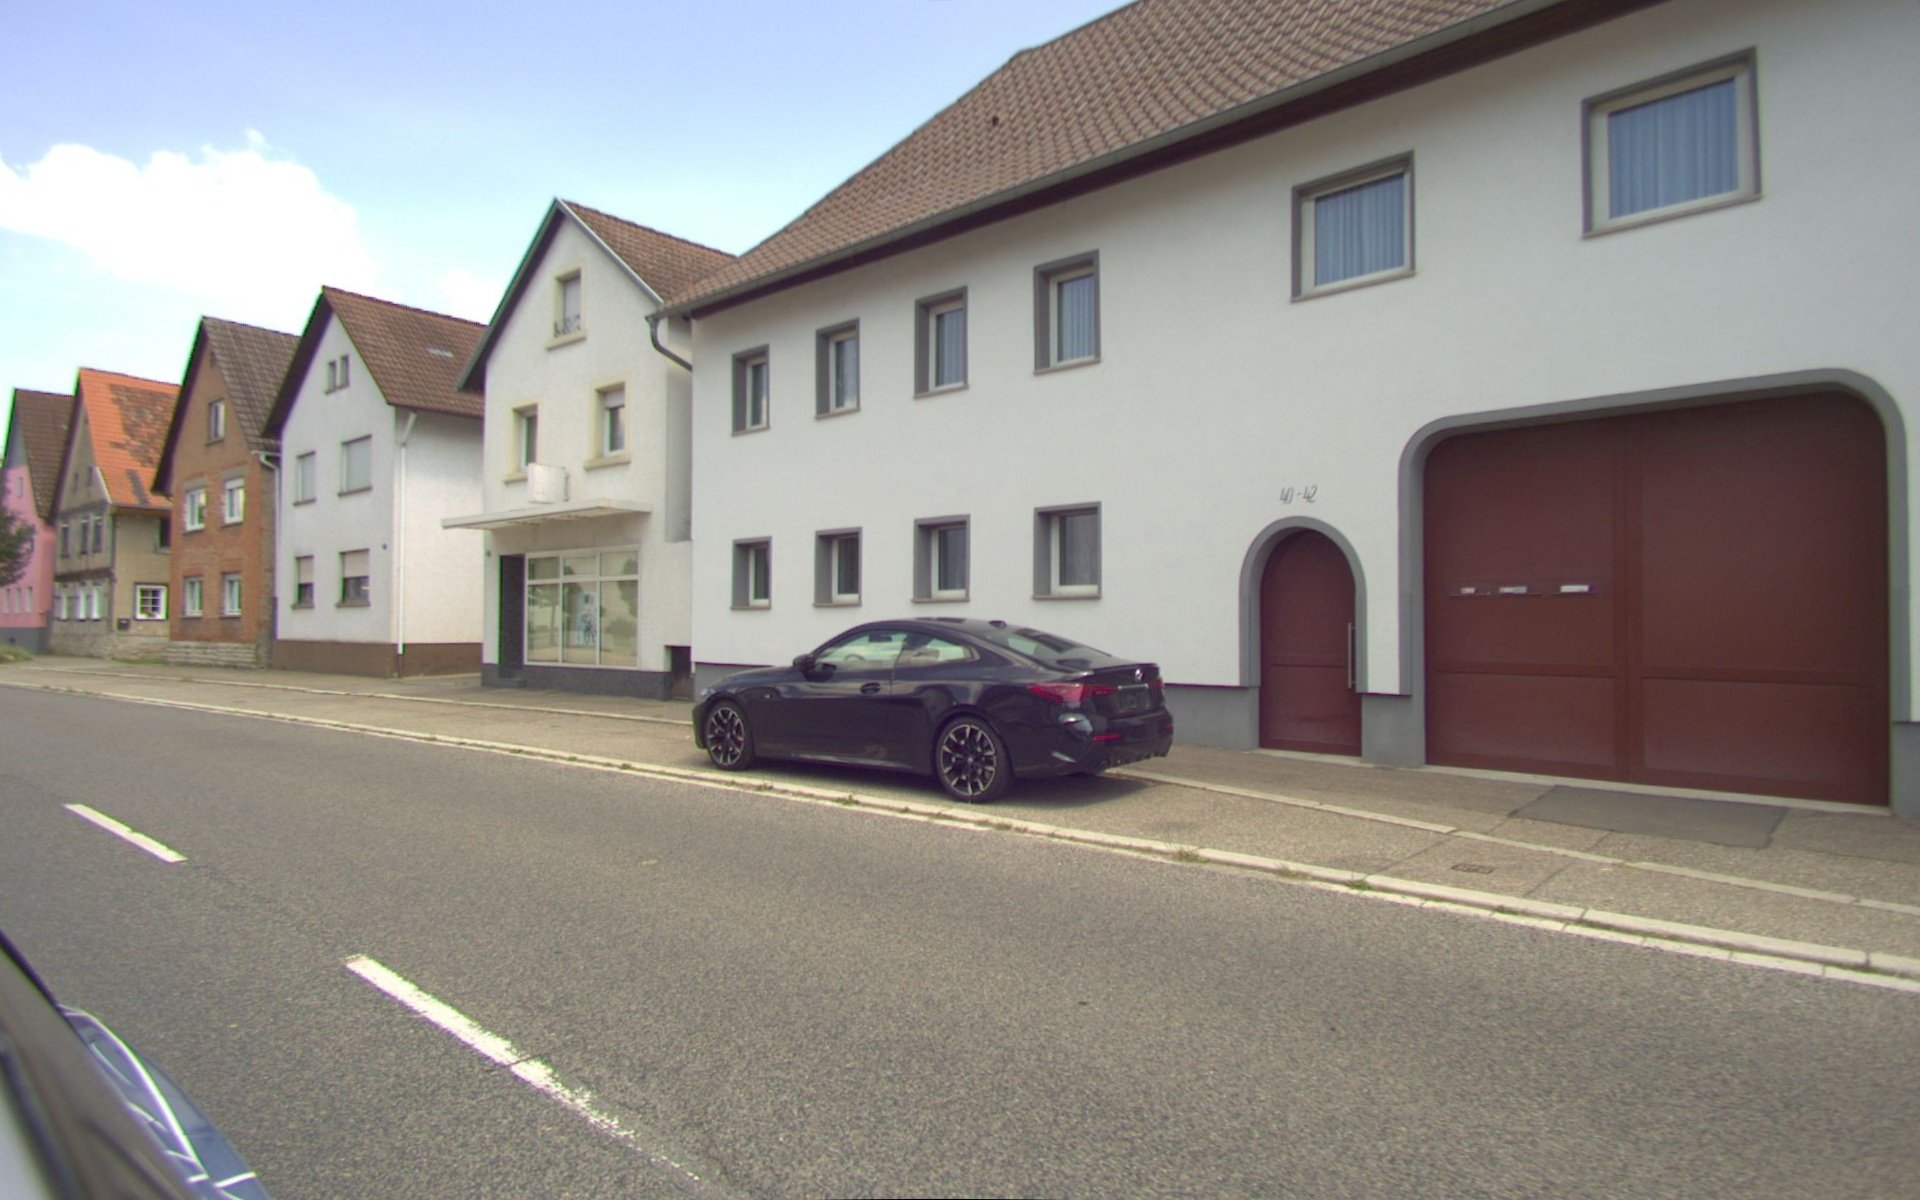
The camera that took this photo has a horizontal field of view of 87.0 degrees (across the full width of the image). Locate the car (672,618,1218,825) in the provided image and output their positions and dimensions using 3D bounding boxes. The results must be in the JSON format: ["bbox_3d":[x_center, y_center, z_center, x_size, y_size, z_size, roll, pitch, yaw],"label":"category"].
[{"bbox_3d":[-0.344,0.884,8.887,4.749,1.359,1.749,-2,-2,38],"label":"car"}]
